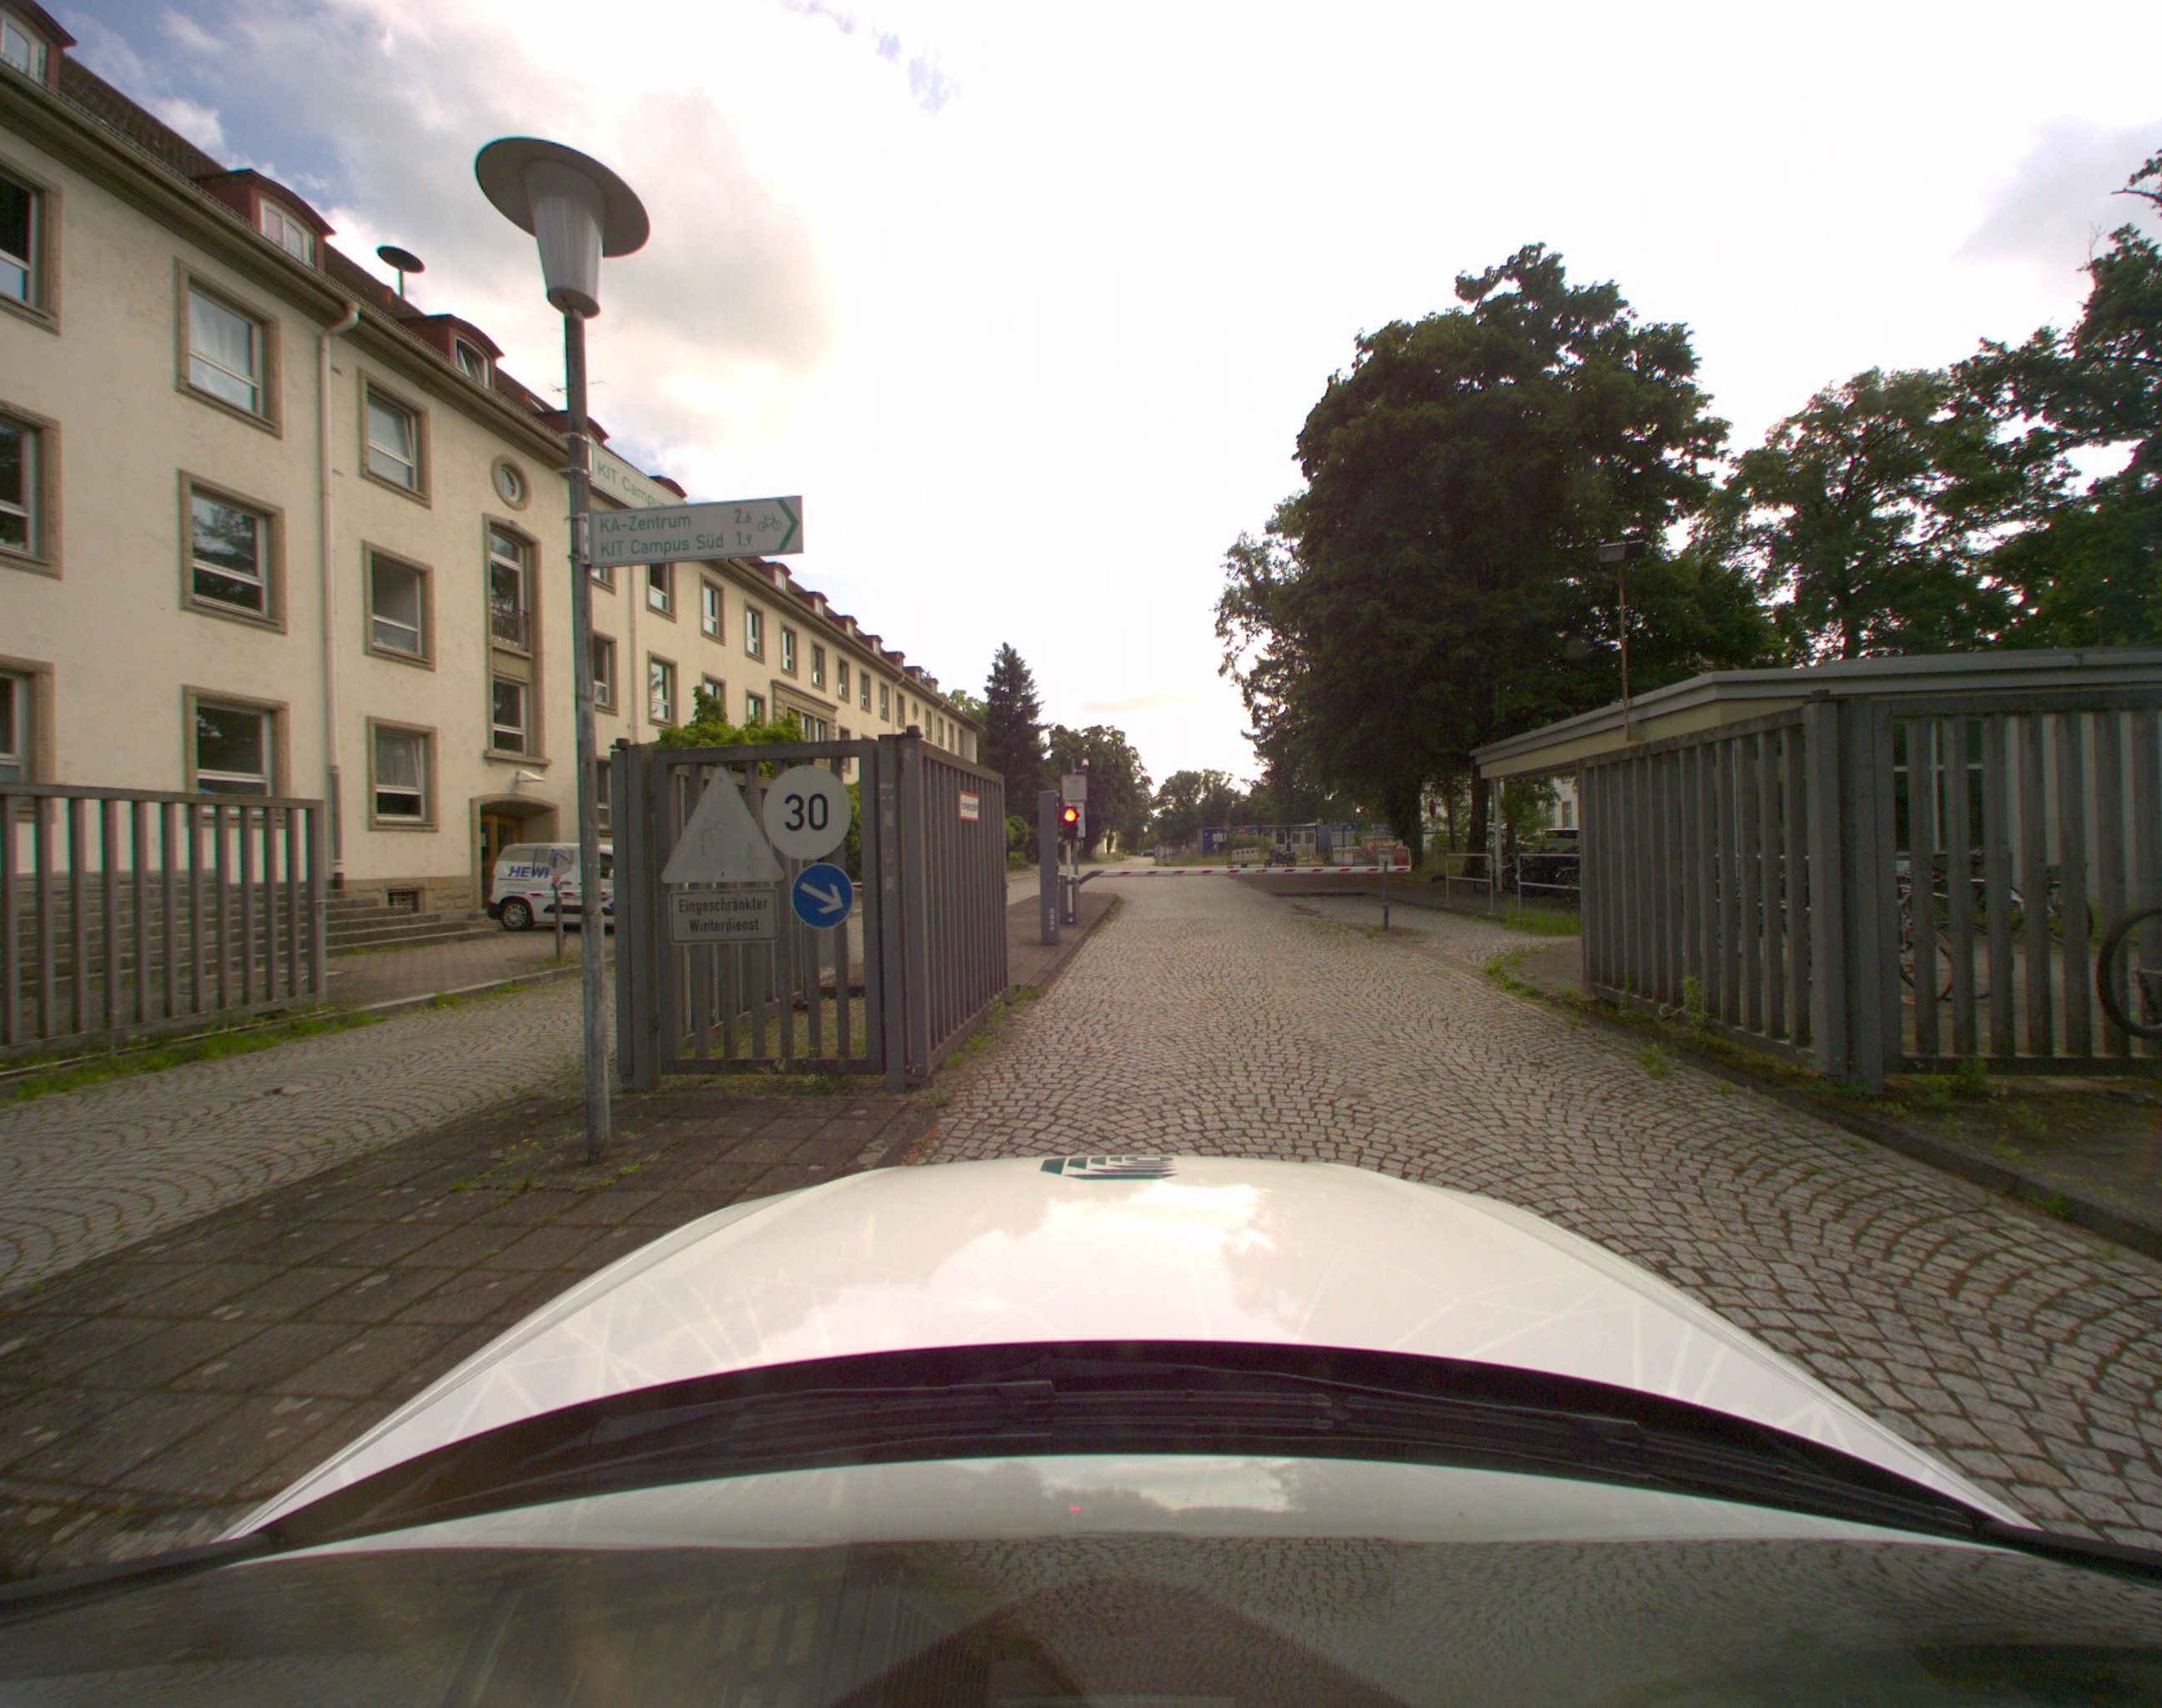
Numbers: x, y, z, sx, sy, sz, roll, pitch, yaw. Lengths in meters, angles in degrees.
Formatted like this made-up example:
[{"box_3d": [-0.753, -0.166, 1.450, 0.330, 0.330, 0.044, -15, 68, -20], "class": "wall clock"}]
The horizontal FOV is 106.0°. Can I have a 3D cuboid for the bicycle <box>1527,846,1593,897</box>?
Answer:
[{"box_3d": [11.640, 0.423, 19.801, 1.375, 1.171, 0.358, -2, -2, -4], "class": "bicycle"}]

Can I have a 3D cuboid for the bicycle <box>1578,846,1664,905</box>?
[{"box_3d": [11.200, 0.438, 16.882, 1.702, 1.160, 0.399, -1, -2, -14], "class": "bicycle"}]

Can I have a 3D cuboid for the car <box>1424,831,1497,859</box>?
[{"box_3d": [26.324, -0.596, 56.626, 4.197, 1.820, 2.004, -1, -1, 7], "class": "car"}]

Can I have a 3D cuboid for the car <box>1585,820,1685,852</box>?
[{"box_3d": [34.278, -1.068, 50.521, 2.002, 1.789, 4.803, -1, -1, -22], "class": "car"}]

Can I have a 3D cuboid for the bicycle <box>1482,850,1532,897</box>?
[{"box_3d": [10.900, 0.494, 20.835, 1.386, 1.171, 0.355, -1, -2, -27], "class": "bicycle"}]

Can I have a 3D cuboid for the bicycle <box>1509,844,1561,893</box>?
[{"box_3d": [11.207, 0.360, 20.101, 1.386, 1.171, 0.355, -1, -2, -27], "class": "bicycle"}]

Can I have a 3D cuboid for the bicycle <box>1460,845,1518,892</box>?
[{"box_3d": [10.760, 0.377, 21.480, 1.381, 1.171, 0.431, -3, -2, -16], "class": "bicycle"}]

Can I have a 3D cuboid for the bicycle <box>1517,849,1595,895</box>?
[{"box_3d": [12.056, 0.479, 20.720, 0.446, 1.119, 1.786, -1, -3, -20], "class": "bicycle"}]

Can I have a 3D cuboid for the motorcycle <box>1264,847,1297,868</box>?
[{"box_3d": [12.631, 0.213, 51.485, 1.948, 1.194, 0.462, -3, 5, 3], "class": "motorcycle"}]

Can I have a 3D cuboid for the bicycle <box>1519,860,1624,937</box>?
[{"box_3d": [7.619, 0.660, 12.745, 0.726, 1.072, 1.716, -2, 0, 6], "class": "bicycle"}]

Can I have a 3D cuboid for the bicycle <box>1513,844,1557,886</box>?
[{"box_3d": [13.391, 0.345, 24.068, 0.502, 1.171, 1.556, -2, -2, 5], "class": "bicycle"}]

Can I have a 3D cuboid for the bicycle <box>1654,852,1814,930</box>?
[{"box_3d": [10.568, 0.602, 13.220, 2.061, 1.171, 0.486, -2, -2, 4], "class": "bicycle"}]

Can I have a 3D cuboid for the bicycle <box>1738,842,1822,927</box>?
[{"box_3d": [10.209, 0.428, 11.884, 1.659, 1.171, 0.431, 0, -3, -33], "class": "bicycle"}]

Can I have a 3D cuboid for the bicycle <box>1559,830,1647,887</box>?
[{"box_3d": [12.892, 0.082, 20.180, 0.371, 1.115, 1.895, -33, 11, -2], "class": "bicycle"}]

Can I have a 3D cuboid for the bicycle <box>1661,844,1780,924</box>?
[{"box_3d": [9.878, 0.463, 12.614, 1.384, 1.171, 0.437, -2, -2, 5], "class": "bicycle"}]

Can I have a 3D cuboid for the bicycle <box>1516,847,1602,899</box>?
[{"box_3d": [11.368, 0.448, 19.400, 1.795, 1.171, 0.358, -2, -2, -1], "class": "bicycle"}]

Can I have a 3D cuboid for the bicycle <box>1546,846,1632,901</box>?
[{"box_3d": [11.401, 0.429, 18.284, 1.803, 1.171, 0.495, -1, -2, -15], "class": "bicycle"}]

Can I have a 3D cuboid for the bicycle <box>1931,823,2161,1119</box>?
[{"box_3d": [5.636, 0.549, 4.098, 1.888, 1.417, 0.517, -2, -2, 10], "class": "bicycle"}]

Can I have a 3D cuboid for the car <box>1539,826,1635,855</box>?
[{"box_3d": [31.388, -0.808, 50.680, 2.002, 1.650, 4.803, -1, -1, -22], "class": "car"}]

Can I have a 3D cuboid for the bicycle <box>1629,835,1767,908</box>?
[{"box_3d": [10.515, 0.296, 13.901, 1.943, 1.171, 0.485, -2, -2, -1], "class": "bicycle"}]

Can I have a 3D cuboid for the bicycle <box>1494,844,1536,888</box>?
[{"box_3d": [12.833, 0.342, 24.124, 0.501, 1.086, 1.589, -2, 6, 5], "class": "bicycle"}]

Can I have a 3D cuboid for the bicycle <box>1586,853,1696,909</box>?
[{"box_3d": [11.180, 0.534, 16.270, 1.976, 1.029, 0.400, -2, -2, -6], "class": "bicycle"}]

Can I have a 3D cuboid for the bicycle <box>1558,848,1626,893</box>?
[{"box_3d": [12.931, 0.426, 20.679, 0.370, 1.081, 1.895, -2, -1, -5], "class": "bicycle"}]

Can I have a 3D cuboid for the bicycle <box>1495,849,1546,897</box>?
[{"box_3d": [11.049, 0.464, 20.460, 1.386, 1.171, 0.355, -1, -2, -27], "class": "bicycle"}]

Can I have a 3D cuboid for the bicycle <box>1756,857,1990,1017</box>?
[{"box_3d": [6.811, 0.647, 7.131, 0.498, 1.170, 1.719, -2, 1, 6], "class": "bicycle"}]

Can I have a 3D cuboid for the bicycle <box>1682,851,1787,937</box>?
[{"box_3d": [9.828, 0.580, 12.241, 1.654, 1.171, 0.433, -2, -2, -23], "class": "bicycle"}]

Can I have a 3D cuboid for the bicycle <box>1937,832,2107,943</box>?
[{"box_3d": [10.813, 0.351, 9.438, 0.431, 1.171, 1.732, -2, 0, 18], "class": "bicycle"}]

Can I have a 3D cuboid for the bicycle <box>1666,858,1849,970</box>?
[{"box_3d": [7.180, 0.593, 8.754, 0.726, 1.057, 1.597, -2, 0, 6], "class": "bicycle"}]

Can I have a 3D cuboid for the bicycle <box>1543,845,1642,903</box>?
[{"box_3d": [10.962, 0.424, 17.465, 1.798, 1.171, 0.582, -2, -2, -7], "class": "bicycle"}]

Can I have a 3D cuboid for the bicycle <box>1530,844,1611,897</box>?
[{"box_3d": [11.312, 0.374, 18.814, 1.747, 1.171, 0.495, -1, -2, -15], "class": "bicycle"}]

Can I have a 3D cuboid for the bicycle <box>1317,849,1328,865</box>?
[{"box_3d": [15.671, 0.206, 52.807, 0.330, 1.008, 1.728, -2, -2, 5], "class": "bicycle"}]

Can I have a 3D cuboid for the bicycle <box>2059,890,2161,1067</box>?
[{"box_3d": [7.042, 0.694, 4.739, 1.935, 0.968, 0.458, -2, 0, 7], "class": "bicycle"}]

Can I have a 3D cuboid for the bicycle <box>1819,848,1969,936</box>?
[{"box_3d": [11.130, 0.561, 11.224, 0.433, 1.084, 1.596, -2, -7, 4], "class": "bicycle"}]

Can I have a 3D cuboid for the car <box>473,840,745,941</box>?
[{"box_3d": [-9.515, 0.690, 16.662, 4.419, 1.751, 1.860, 2, 1, 2], "class": "car"}]

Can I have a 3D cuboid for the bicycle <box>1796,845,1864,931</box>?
[{"box_3d": [10.438, 0.454, 11.335, 1.661, 1.119, 0.431, 0, -3, -40], "class": "bicycle"}]
